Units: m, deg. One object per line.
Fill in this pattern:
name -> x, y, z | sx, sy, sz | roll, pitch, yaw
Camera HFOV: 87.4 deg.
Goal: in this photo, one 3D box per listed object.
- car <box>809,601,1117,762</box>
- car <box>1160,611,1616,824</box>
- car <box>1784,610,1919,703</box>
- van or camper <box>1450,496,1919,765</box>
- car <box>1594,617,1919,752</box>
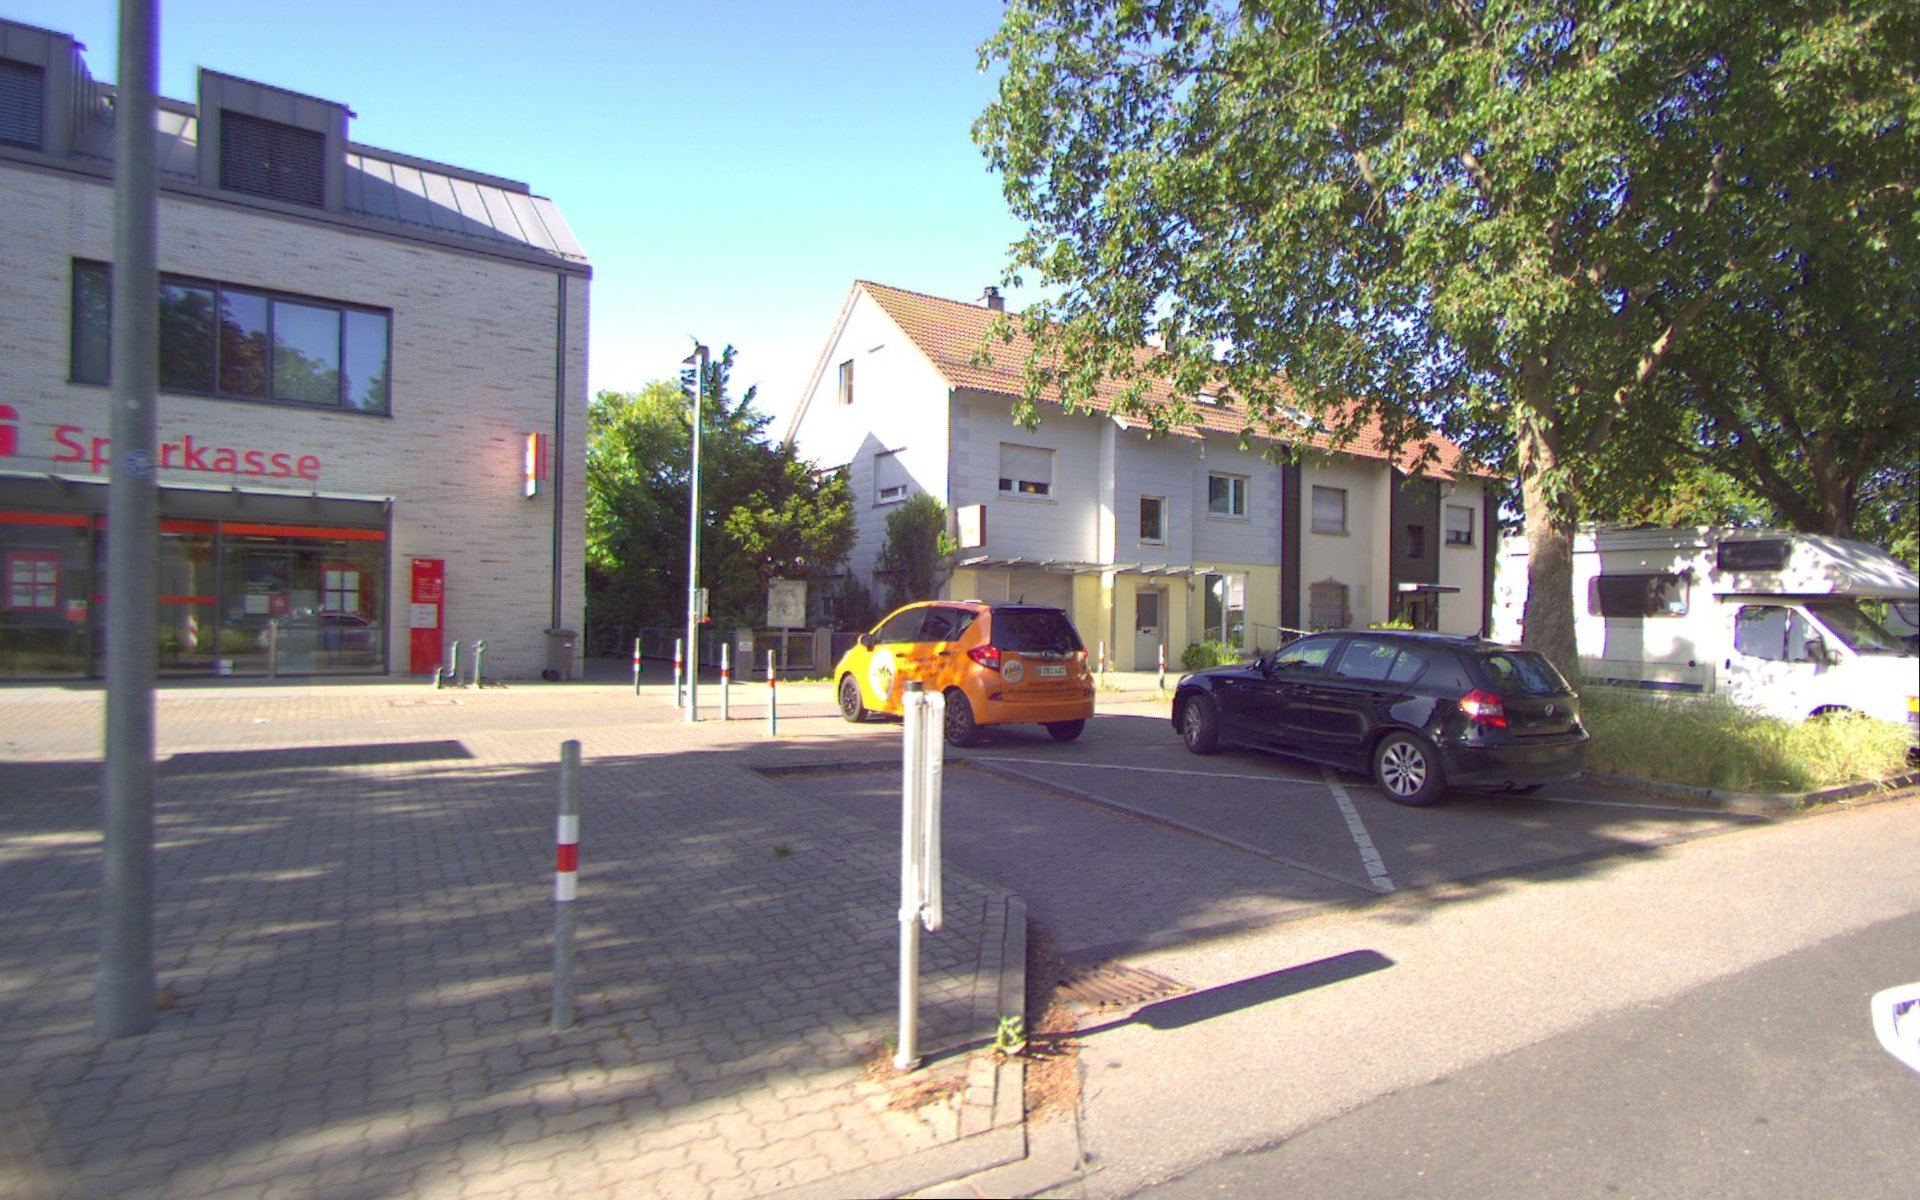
car -> -0.135, 0.858, 12.401 | 1.851, 1.563, 3.960 | 1, 0, -35
car -> 3.856, 0.941, 9.805 | 1.618, 1.469, 3.972 | 2, 1, -26
car -> 18.684, 1.132, 19.258 | 1.977, 1.610, 3.966 | 2, 2, -31
van or camper -> 9.842, 0.226, 13.417 | 1.975, 2.843, 5.752 | 2, 2, -28
car -> 12.151, 1.143, 15.074 | 1.978, 1.478, 3.965 | 2, 2, -31
